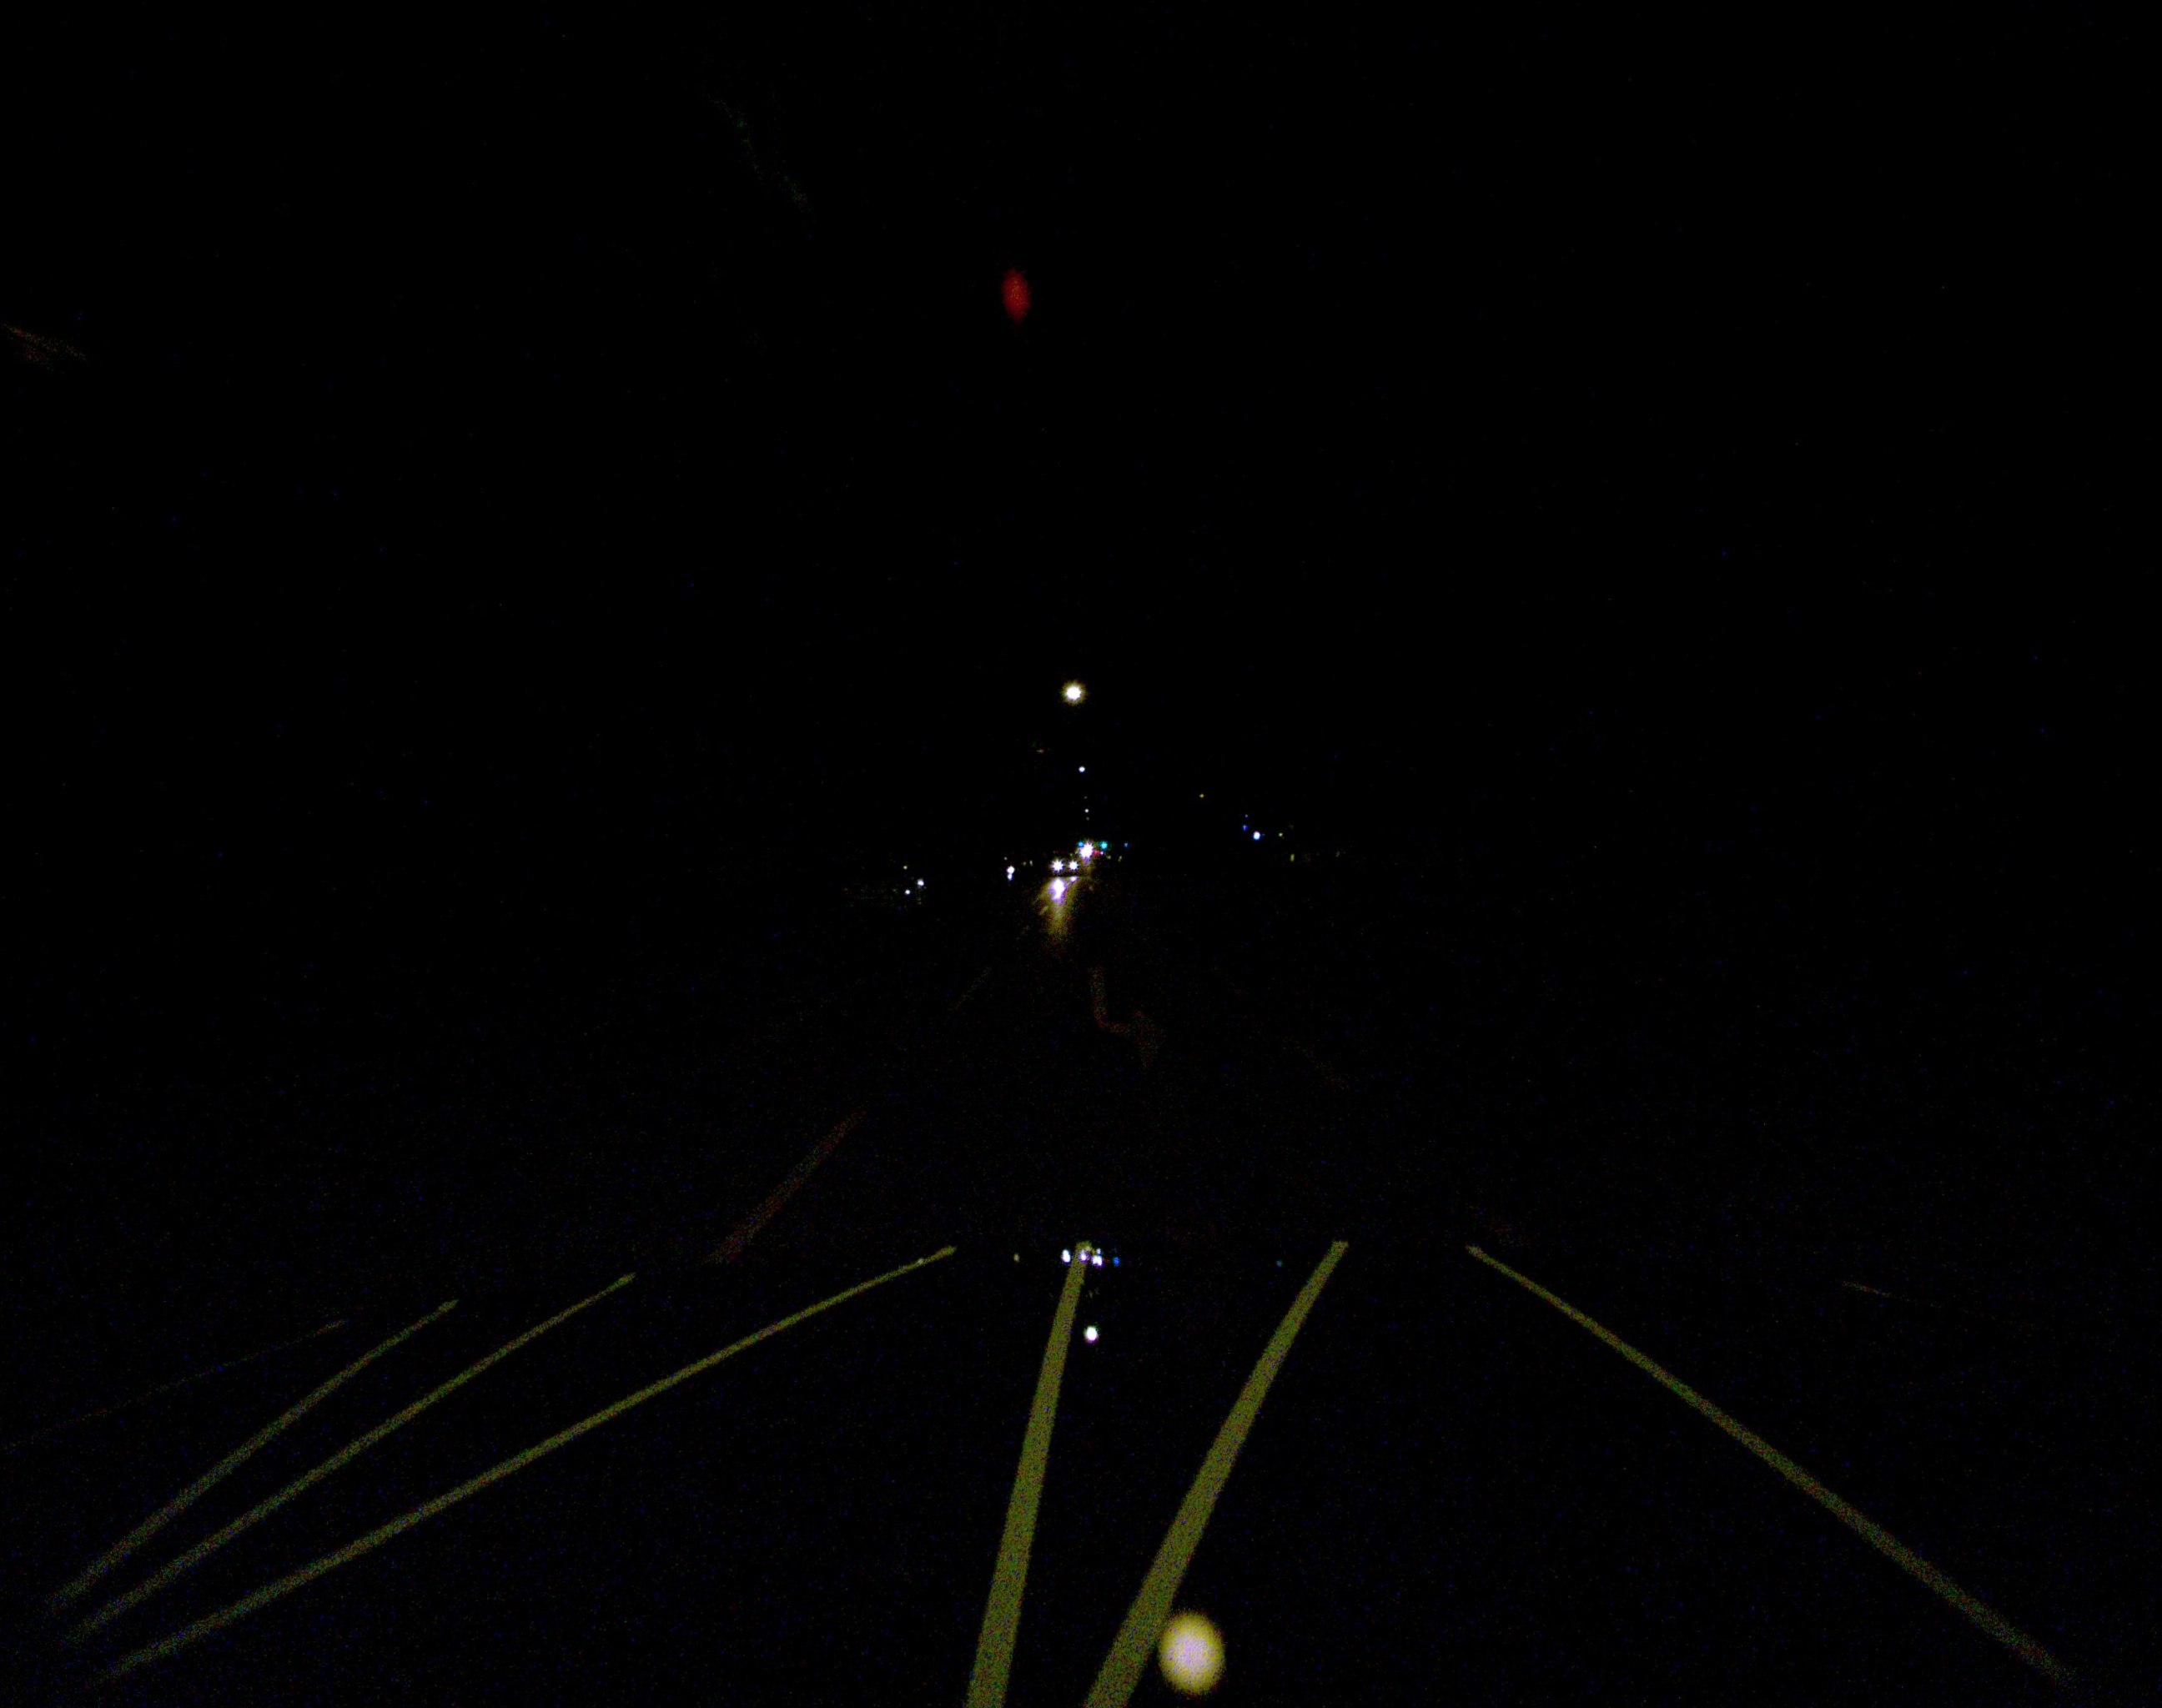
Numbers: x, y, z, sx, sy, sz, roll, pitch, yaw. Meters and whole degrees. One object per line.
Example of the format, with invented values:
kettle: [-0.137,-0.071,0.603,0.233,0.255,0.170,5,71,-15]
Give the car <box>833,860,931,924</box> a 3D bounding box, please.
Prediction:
car: [-5.197,0.934,20.265,1.611,1.500,3.486,0,0,1]

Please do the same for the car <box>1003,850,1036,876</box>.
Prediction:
car: [-4.222,0.583,52.674,1.852,1.643,4.179,-2,1,0]

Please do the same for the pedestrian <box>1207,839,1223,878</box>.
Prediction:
pedestrian: [6.165,0.195,35.020,0.565,1.750,0.500,-2,1,1]

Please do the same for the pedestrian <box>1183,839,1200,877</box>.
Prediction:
pedestrian: [5.252,0.192,35.969,0.673,1.750,0.500,-2,1,1]

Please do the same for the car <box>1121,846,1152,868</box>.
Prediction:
car: [4.137,0.165,57.239,1.998,1.477,3.999,-3,1,1]

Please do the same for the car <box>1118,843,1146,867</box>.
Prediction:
car: [4.141,0.043,62.332,1.998,1.772,3.999,-2,1,1]

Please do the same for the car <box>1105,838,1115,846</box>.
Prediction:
car: [6.106,-2.451,159.231,1.903,1.581,3.661,-2,1,2]

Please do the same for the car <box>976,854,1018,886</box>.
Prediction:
car: [-4.284,0.784,39.143,1.742,1.489,3.889,-1,1,-1]
